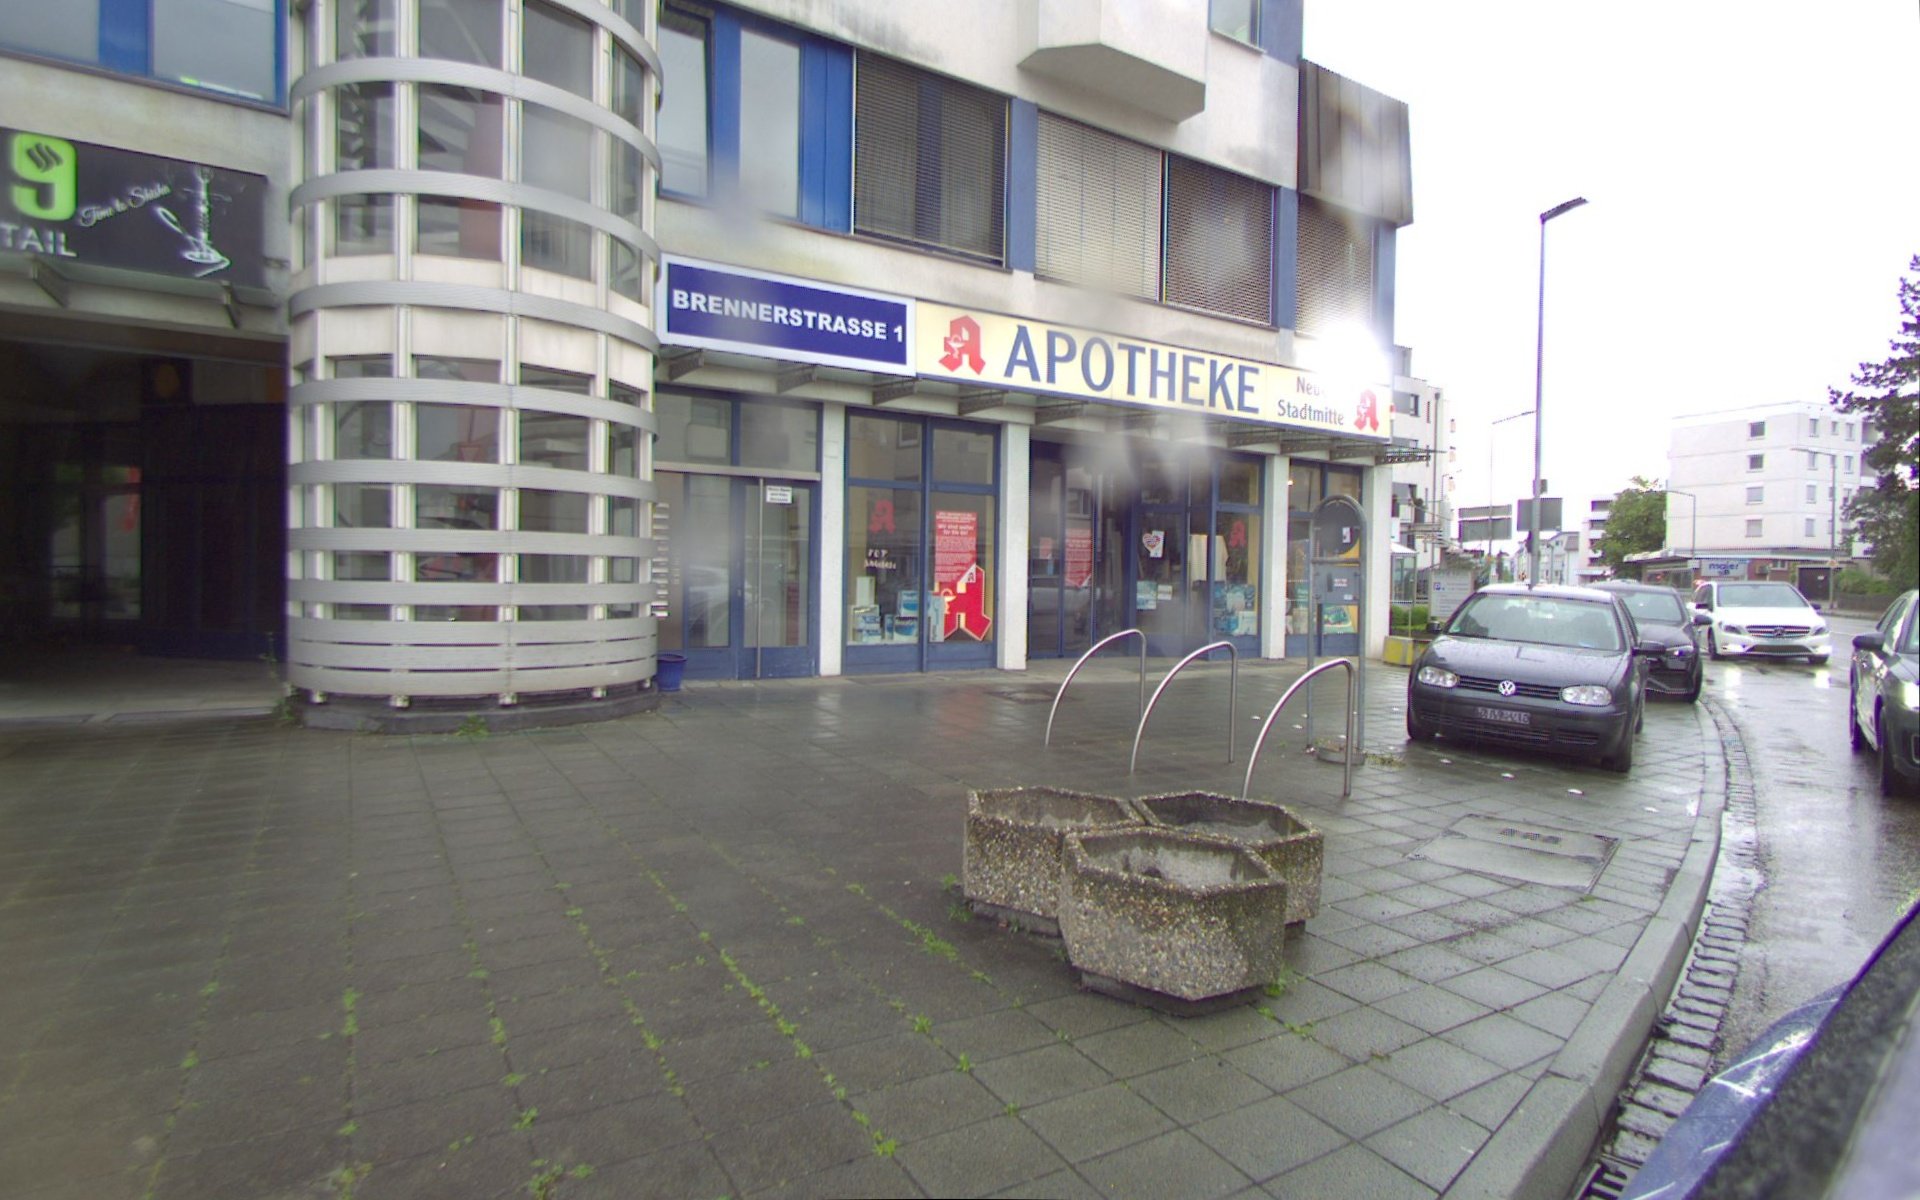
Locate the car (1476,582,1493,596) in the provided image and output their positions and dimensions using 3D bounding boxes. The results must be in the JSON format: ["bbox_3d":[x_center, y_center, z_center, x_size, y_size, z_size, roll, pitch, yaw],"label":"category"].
[{"bbox_3d":[68.176,-1.424,131.610,1.726,1.660,3.968,1,2,24],"label":"car"}]

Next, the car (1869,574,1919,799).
[{"bbox_3d":[8.247,0.553,7.771,1.728,1.462,3.989,1,2,40],"label":"car"}]

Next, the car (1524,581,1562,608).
[{"bbox_3d":[37.307,-0.374,64.834,1.982,1.635,3.961,-1,1,28],"label":"car"}]

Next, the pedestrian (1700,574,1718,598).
[{"bbox_3d":[57.974,-1.092,78.304,0.845,1.757,0.831,1,2,20],"label":"pedestrian"}]

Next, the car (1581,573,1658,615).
[{"bbox_3d":[24.177,-0.276,37.219,1.783,1.385,3.941,1,3,25],"label":"car"}]

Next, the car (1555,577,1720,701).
[{"bbox_3d":[9.427,0.416,14.027,1.650,1.442,3.949,2,2,36],"label":"car"}]

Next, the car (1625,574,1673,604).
[{"bbox_3d":[37.716,-0.635,55.433,1.736,1.472,3.777,1,3,28],"label":"car"}]

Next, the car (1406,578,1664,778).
[{"bbox_3d":[5.493,0.536,9.446,1.646,1.388,3.683,5,4,36],"label":"car"}]

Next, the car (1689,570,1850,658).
[{"bbox_3d":[16.015,0.218,20.239,1.718,1.547,4.024,2,1,27],"label":"car"}]
